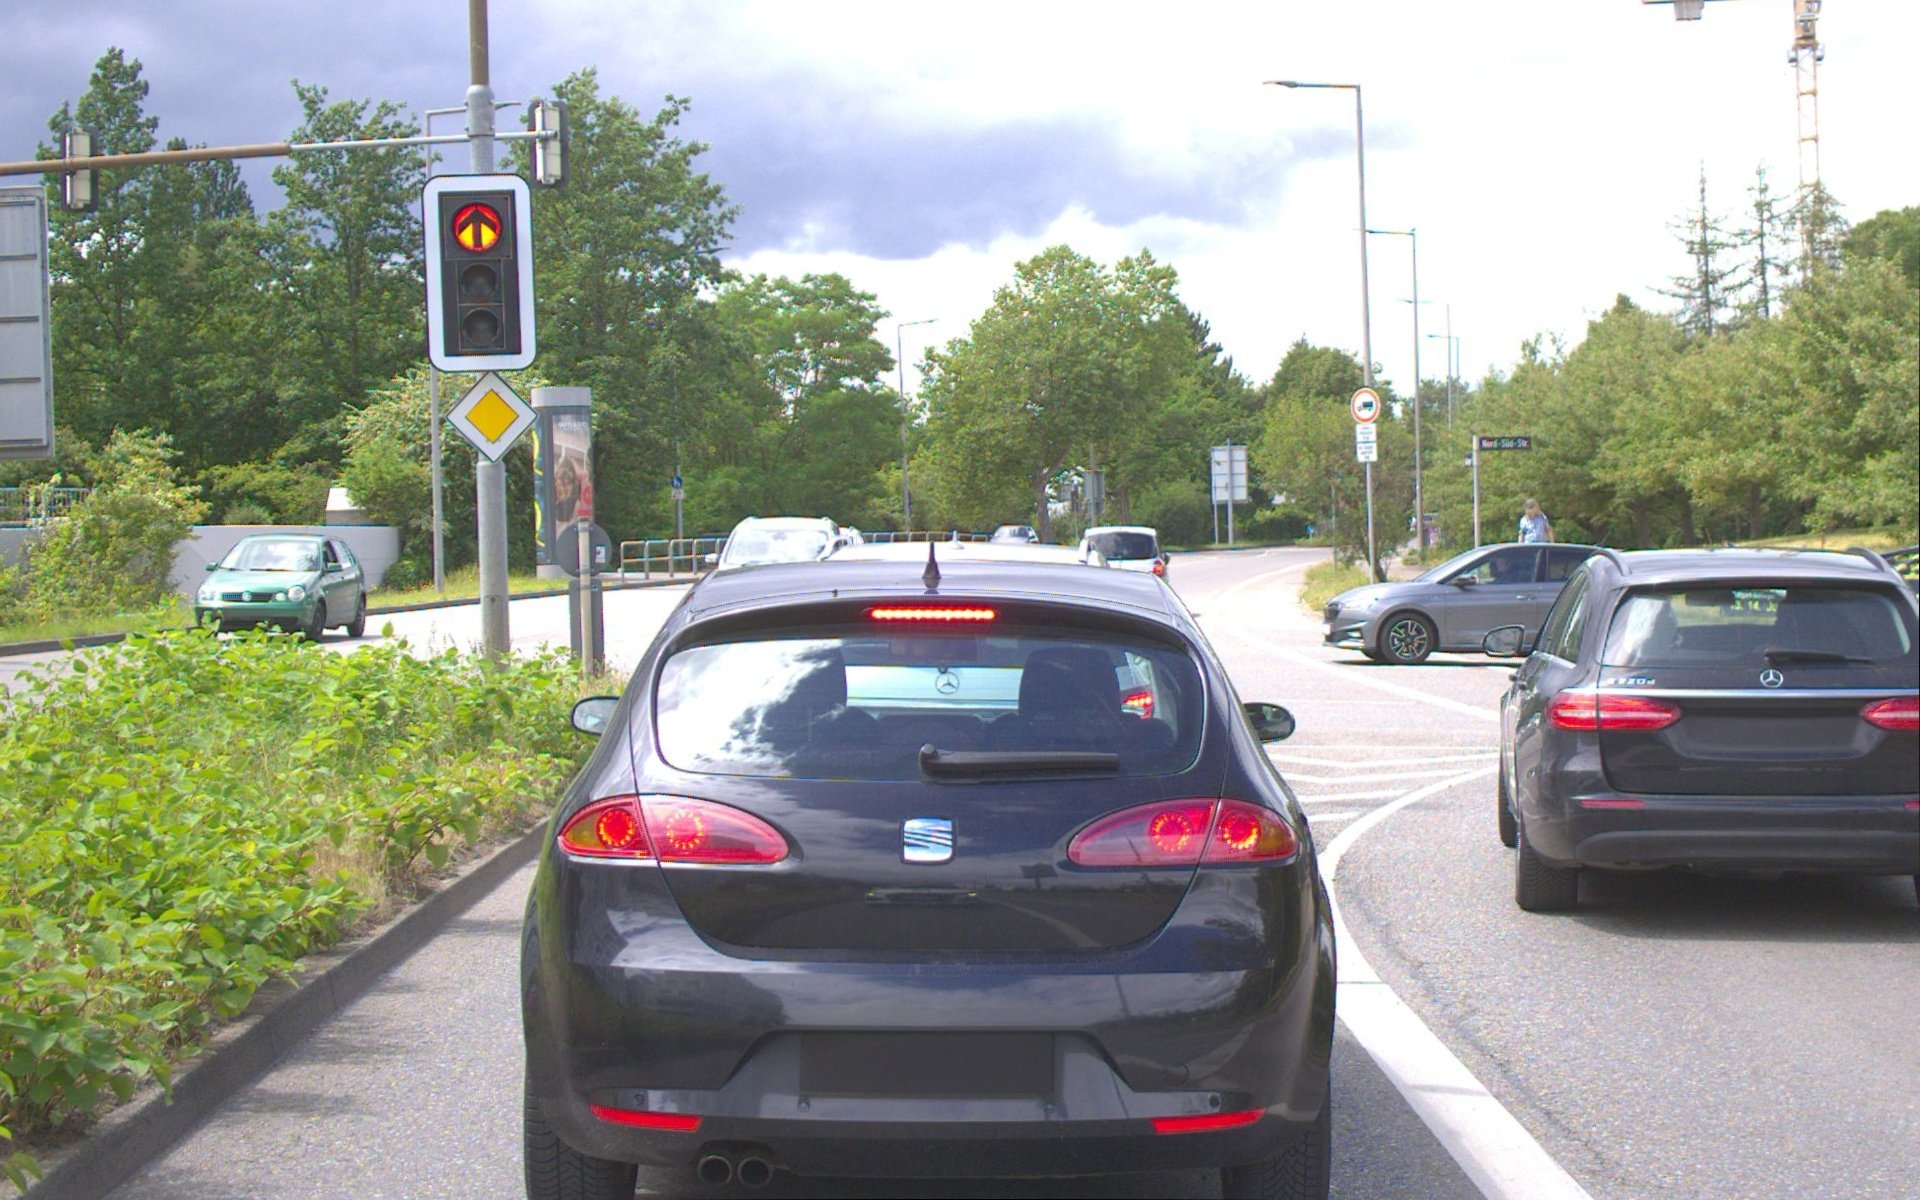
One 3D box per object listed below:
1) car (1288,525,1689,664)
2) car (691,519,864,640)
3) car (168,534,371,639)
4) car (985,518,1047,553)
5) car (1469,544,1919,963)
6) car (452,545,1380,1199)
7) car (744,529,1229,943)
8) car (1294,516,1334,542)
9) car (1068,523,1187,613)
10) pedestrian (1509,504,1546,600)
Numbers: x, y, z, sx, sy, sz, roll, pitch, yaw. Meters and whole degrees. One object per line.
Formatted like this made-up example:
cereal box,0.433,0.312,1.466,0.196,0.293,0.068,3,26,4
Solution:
car,6.174,-0.084,40.458,4.303,1.520,2.000,-1,1,-4
car,-2.486,-0.314,47.687,1.994,1.590,4.000,0,1,3
car,-9.393,-0.218,47.050,1.993,1.347,4.000,0,1,-1
car,2.237,-2.545,135.815,1.994,1.347,3.999,0,1,8
car,3.279,0.520,15.014,1.873,1.436,5.199,-1,1,6
car,-0.104,0.607,8.381,1.773,1.447,3.582,0,1,-1
car,0.019,0.468,14.598,1.773,1.486,3.583,-2,1,-3
car,18.876,-3.780,183.420,1.994,1.347,3.999,0,1,8
car,2.924,-0.592,60.775,1.993,1.525,4.000,0,1,1
pedestrian,10.290,-0.872,62.374,0.559,1.720,0.588,0,1,1
